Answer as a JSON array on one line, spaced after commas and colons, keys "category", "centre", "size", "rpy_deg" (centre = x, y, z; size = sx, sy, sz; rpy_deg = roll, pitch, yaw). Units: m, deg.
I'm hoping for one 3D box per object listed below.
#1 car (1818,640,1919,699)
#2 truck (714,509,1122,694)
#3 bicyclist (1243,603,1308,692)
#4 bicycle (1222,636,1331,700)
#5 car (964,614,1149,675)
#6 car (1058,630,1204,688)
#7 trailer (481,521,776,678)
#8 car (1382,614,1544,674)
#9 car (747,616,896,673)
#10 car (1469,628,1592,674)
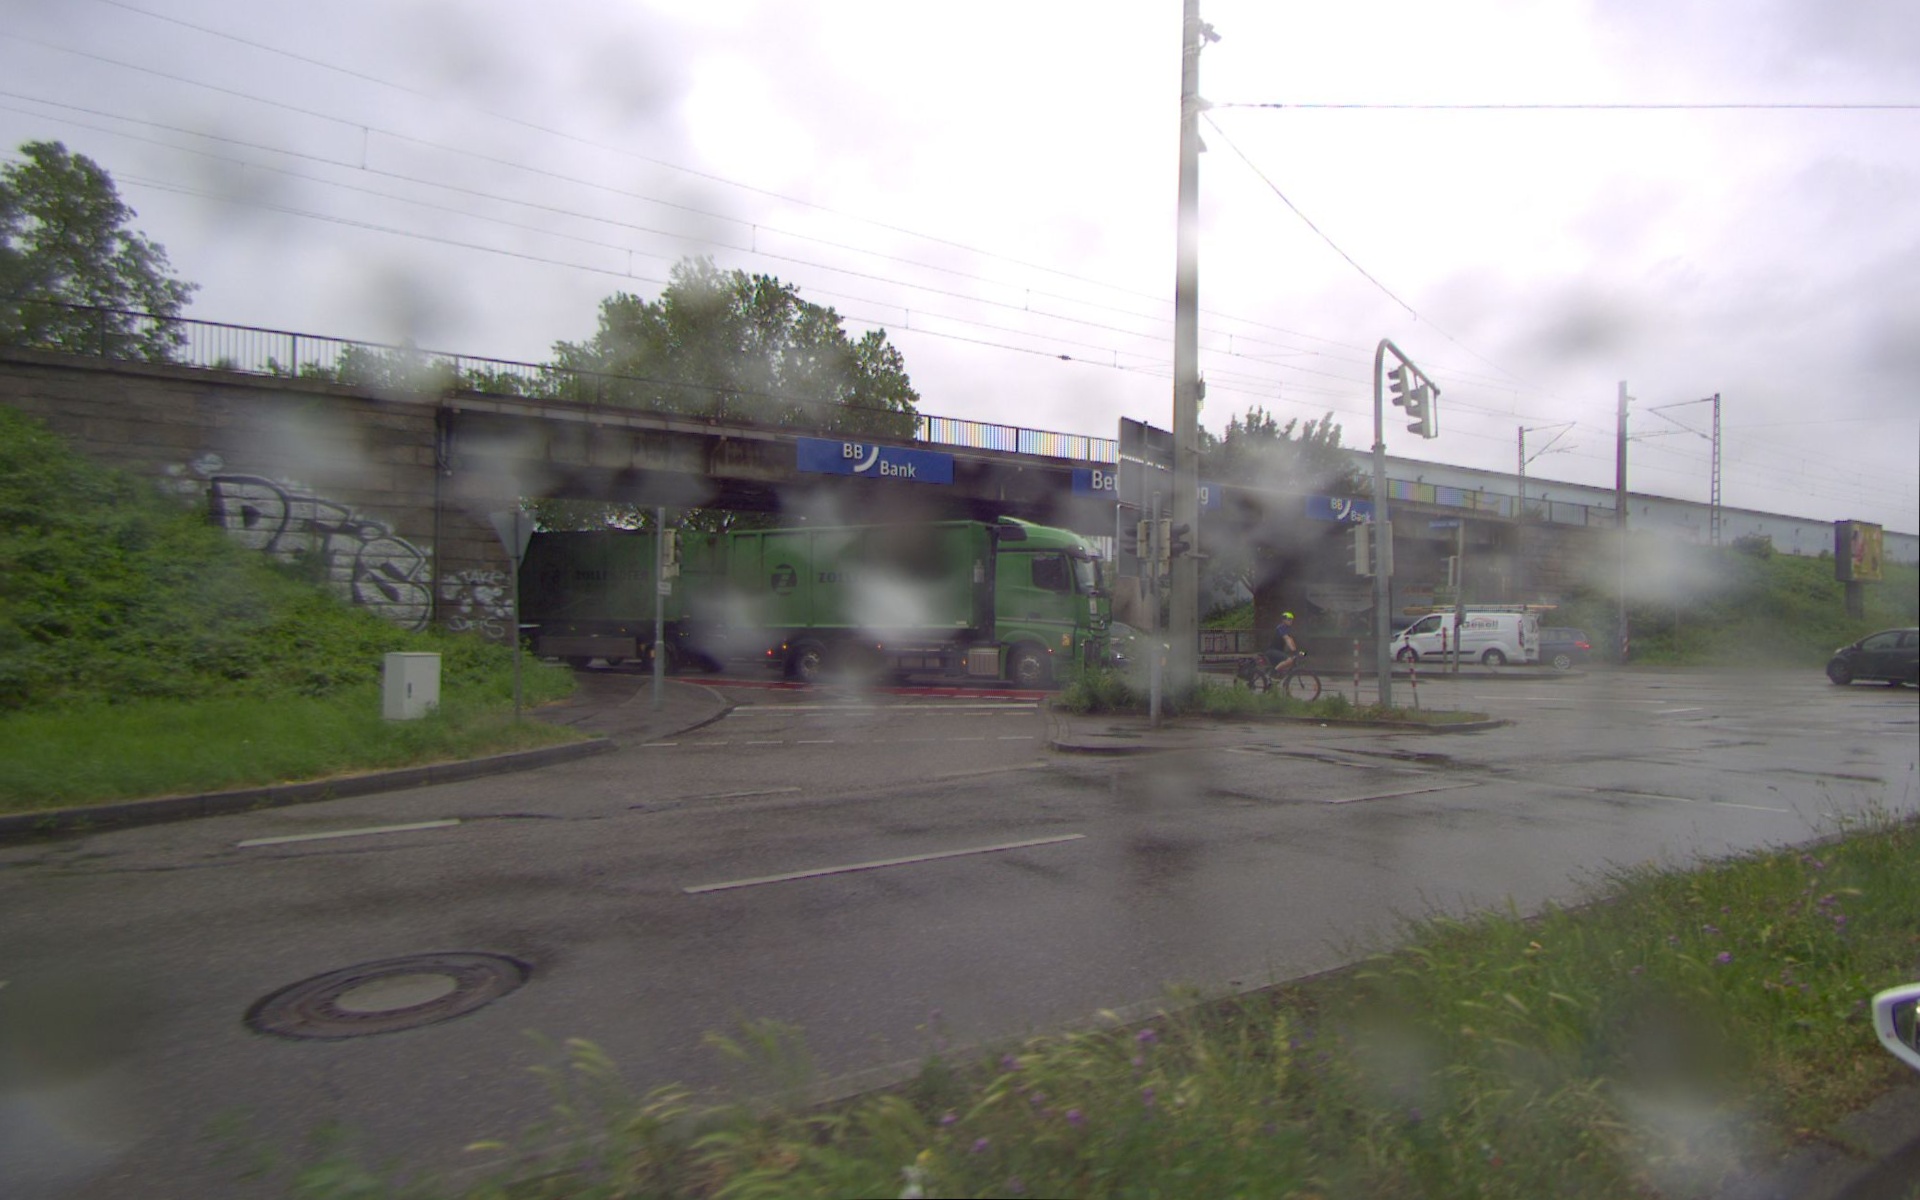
[{"category": "car", "centre": [23.261, 1.688, 24.648], "size": [1.551, 1.323, 3.460], "rpy_deg": [0, -1, 3]}, {"category": "truck", "centre": [-1.202, 0.067, 25.020], "size": [10.000, 4.001, 2.686], "rpy_deg": [0, -1, 24]}, {"category": "bicyclist", "centre": [6.034, 0.895, 19.183], "size": [1.027, 1.614, 0.804], "rpy_deg": [2, 0, 27]}, {"category": "bicycle", "centre": [6.042, 1.273, 19.175], "size": [1.877, 1.109, 0.694], "rpy_deg": [1, 0, 27]}, {"category": "car", "centre": [2.548, 1.133, 26.694], "size": [4.597, 1.505, 1.744], "rpy_deg": [0, -1, 26]}, {"category": "car", "centre": [4.957, 1.659, 29.052], "size": [3.922, 1.566, 1.660], "rpy_deg": [0, -1, 21]}, {"category": "trailer", "centre": [-9.549, 0.005, 28.759], "size": [8.358, 4.039, 2.688], "rpy_deg": [0, -1, 24]}, {"category": "car", "centre": [17.755, 1.510, 35.649], "size": [1.986, 1.982, 4.759], "rpy_deg": [1, -2, -44]}, {"category": "car", "centre": [-4.122, 1.279, 29.960], "size": [3.923, 1.595, 1.999], "rpy_deg": [0, -1, 23]}, {"category": "car", "centre": [21.750, 1.912, 38.352], "size": [3.881, 1.640, 1.993], "rpy_deg": [-1, -2, 37]}]
